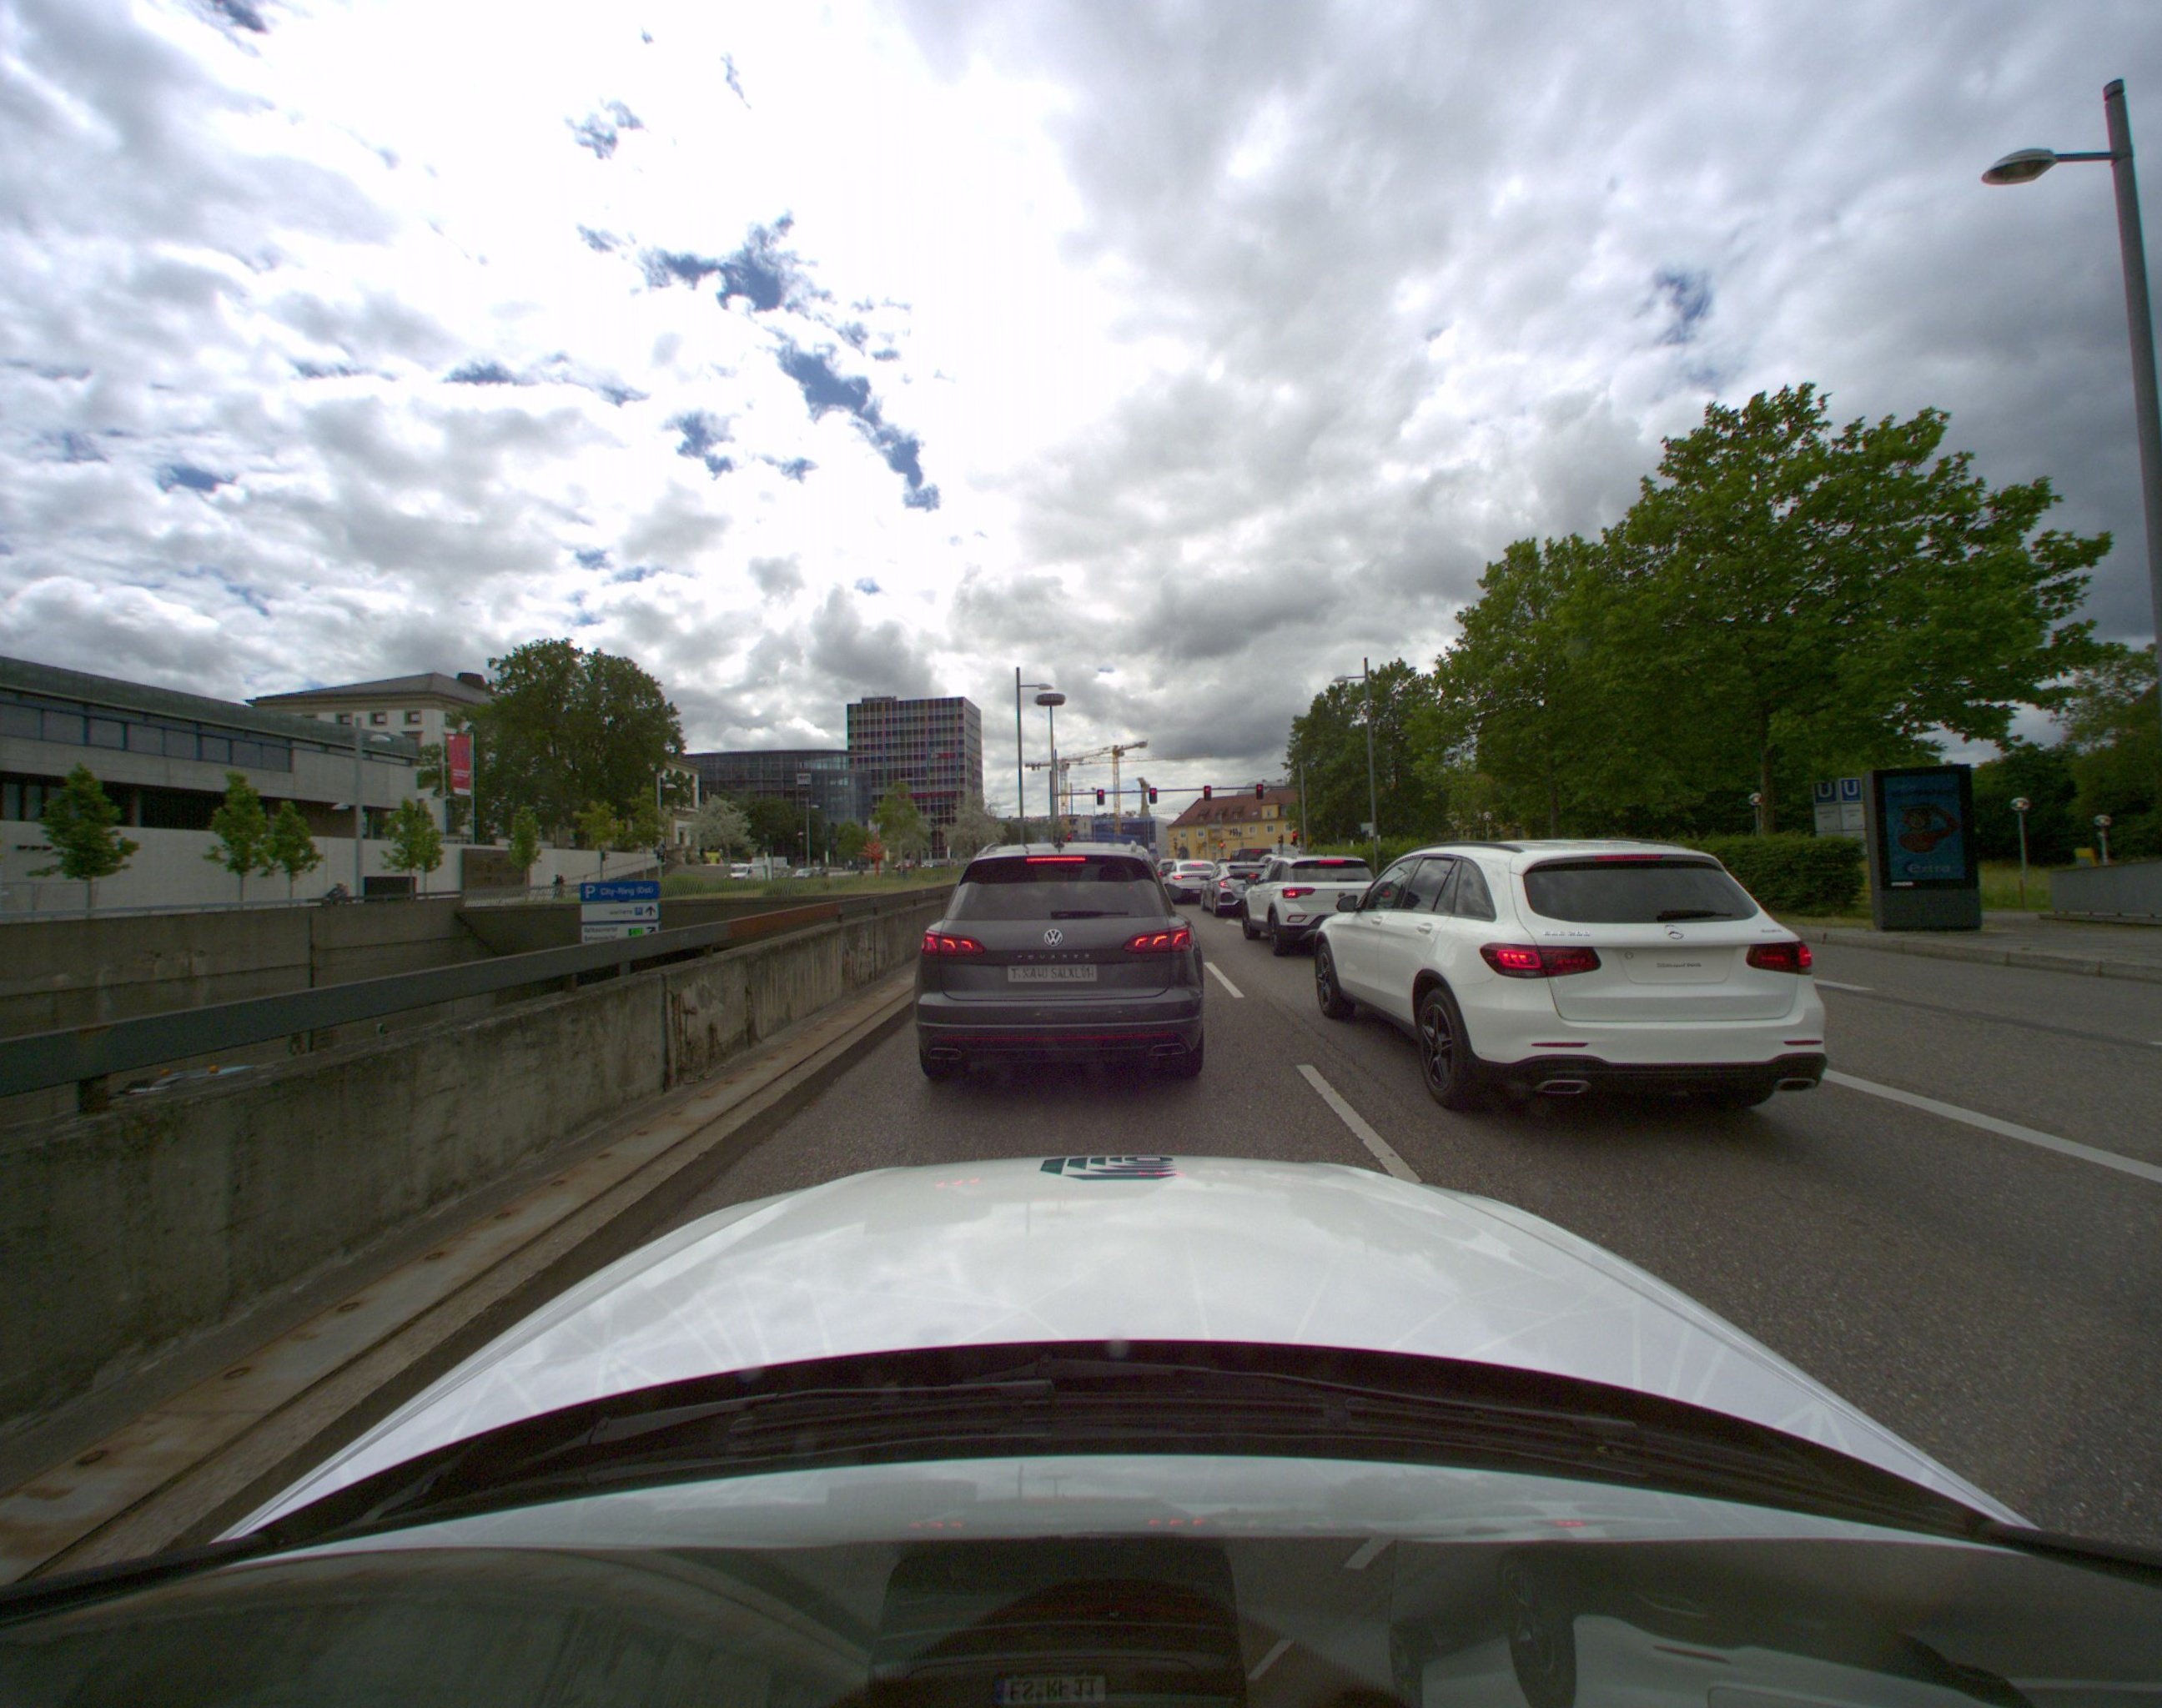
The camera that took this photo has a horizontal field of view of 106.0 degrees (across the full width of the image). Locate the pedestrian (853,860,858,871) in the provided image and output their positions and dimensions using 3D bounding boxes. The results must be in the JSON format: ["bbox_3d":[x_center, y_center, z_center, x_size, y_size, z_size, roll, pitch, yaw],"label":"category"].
[{"bbox_3d":[-40.879,2.024,147.732,0.739,2.013,0.789,-2,1,-14],"label":"pedestrian"}]

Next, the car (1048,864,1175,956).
[{"bbox_3d":[0.523,0.878,14.505,1.944,1.384,3.932,0,0,1],"label":"car"}]

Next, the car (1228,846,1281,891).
[{"bbox_3d":[8.259,0.682,39.053,1.902,2.014,4.014,0,-1,3],"label":"car"}]

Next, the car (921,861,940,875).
[{"bbox_3d":[-23.880,2.209,129.444,1.986,2.013,4.693,-2,1,1],"label":"car"}]

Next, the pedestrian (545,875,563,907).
[{"bbox_3d":[-34.735,2.441,53.700,0.731,2.013,0.798,-1,1,41],"label":"pedestrian"}]

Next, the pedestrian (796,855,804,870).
[{"bbox_3d":[-38.658,1.209,112.184,0.735,2.014,0.793,-2,-3,3],"label":"pedestrian"}]

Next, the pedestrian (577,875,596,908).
[{"bbox_3d":[-31.243,2.376,51.422,0.867,2.013,0.622,-2,1,-39],"label":"pedestrian"}]

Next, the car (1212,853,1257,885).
[{"bbox_3d":[8.342,0.818,44.633,1.902,1.697,4.014,0,-1,3],"label":"car"}]

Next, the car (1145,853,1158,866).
[{"bbox_3d":[9.680,0.744,111.367,1.612,1.627,4.002,0,-2,3],"label":"car"}]

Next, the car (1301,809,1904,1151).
[{"bbox_3d":[3.153,0.625,6.246,1.918,1.653,4.493,-1,0,3],"label":"car"}]

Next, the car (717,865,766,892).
[{"bbox_3d":[-28.824,2.042,69.281,1.985,2.013,4.695,-2,1,3],"label":"car"}]

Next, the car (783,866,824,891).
[{"bbox_3d":[-25.689,2.218,75.508,1.985,2.013,4.695,-2,1,3],"label":"car"}]

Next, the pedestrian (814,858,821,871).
[{"bbox_3d":[-41.948,1.633,129.745,0.785,2.013,0.743,-2,1,12],"label":"pedestrian"}]

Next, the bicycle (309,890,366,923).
[{"bbox_3d":[-36.671,2.552,40.220,0.723,1.536,2.190,0,-2,1],"label":"bicycle"}]

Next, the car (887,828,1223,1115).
[{"bbox_3d":[-0.101,0.702,6.780,1.944,1.651,4.001,-1,0,1],"label":"car"}]

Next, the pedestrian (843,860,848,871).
[{"bbox_3d":[-42.362,2.034,146.392,0.741,2.013,0.787,-2,1,-20],"label":"pedestrian"}]

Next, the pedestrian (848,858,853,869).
[{"bbox_3d":[-41.745,1.737,147.564,0.739,2.013,0.789,-2,1,-14],"label":"pedestrian"}]

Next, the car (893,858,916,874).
[{"bbox_3d":[-24.525,1.602,113.455,1.986,2.013,4.693,-2,1,1],"label":"car"}]

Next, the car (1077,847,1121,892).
[{"bbox_3d":[0.873,0.709,38.680,1.944,2.018,3.932,0,0,1],"label":"car"}]

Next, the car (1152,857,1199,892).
[{"bbox_3d":[4.338,0.935,37.775,1.918,1.529,4.050,-1,-1,3],"label":"car"}]

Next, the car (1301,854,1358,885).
[{"bbox_3d":[12.105,0.772,39.954,1.921,1.460,4.535,0,-1,7],"label":"car"}]

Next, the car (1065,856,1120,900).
[{"bbox_3d":[0.475,0.872,31.148,1.944,1.600,3.932,0,0,1],"label":"car"}]

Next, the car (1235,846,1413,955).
[{"bbox_3d":[3.915,0.706,13.975,1.918,1.551,4.493,-1,-1,3],"label":"car"}]

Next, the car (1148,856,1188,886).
[{"bbox_3d":[4.657,0.925,44.061,1.918,1.529,4.050,-1,-1,3],"label":"car"}]

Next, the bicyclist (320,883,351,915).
[{"bbox_3d":[-36.651,2.202,40.056,0.728,1.554,0.776,0,-2,1],"label":"bicyclist"}]

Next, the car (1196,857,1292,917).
[{"bbox_3d":[4.315,0.849,22.220,1.918,1.432,4.493,-1,-1,3],"label":"car"}]

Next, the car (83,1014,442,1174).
[{"bbox_3d":[-19.438,5.589,19.995,2.610,2.311,5.936,0,-2,2],"label":"car"}]

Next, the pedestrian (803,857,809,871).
[{"bbox_3d":[-42.767,1.548,126.782,0.741,2.013,0.914,-2,1,-22],"label":"pedestrian"}]

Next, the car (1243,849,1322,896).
[{"bbox_3d":[7.901,0.680,32.310,1.987,1.639,4.303,-2,1,-1],"label":"car"}]

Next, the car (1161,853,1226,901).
[{"bbox_3d":[3.902,0.792,28.961,1.918,1.529,4.493,-1,-1,3],"label":"car"}]

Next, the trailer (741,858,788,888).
[{"bbox_3d":[-28.838,1.681,74.407,2.030,2.604,5.511,0,0,2],"label":"trailer"}]
